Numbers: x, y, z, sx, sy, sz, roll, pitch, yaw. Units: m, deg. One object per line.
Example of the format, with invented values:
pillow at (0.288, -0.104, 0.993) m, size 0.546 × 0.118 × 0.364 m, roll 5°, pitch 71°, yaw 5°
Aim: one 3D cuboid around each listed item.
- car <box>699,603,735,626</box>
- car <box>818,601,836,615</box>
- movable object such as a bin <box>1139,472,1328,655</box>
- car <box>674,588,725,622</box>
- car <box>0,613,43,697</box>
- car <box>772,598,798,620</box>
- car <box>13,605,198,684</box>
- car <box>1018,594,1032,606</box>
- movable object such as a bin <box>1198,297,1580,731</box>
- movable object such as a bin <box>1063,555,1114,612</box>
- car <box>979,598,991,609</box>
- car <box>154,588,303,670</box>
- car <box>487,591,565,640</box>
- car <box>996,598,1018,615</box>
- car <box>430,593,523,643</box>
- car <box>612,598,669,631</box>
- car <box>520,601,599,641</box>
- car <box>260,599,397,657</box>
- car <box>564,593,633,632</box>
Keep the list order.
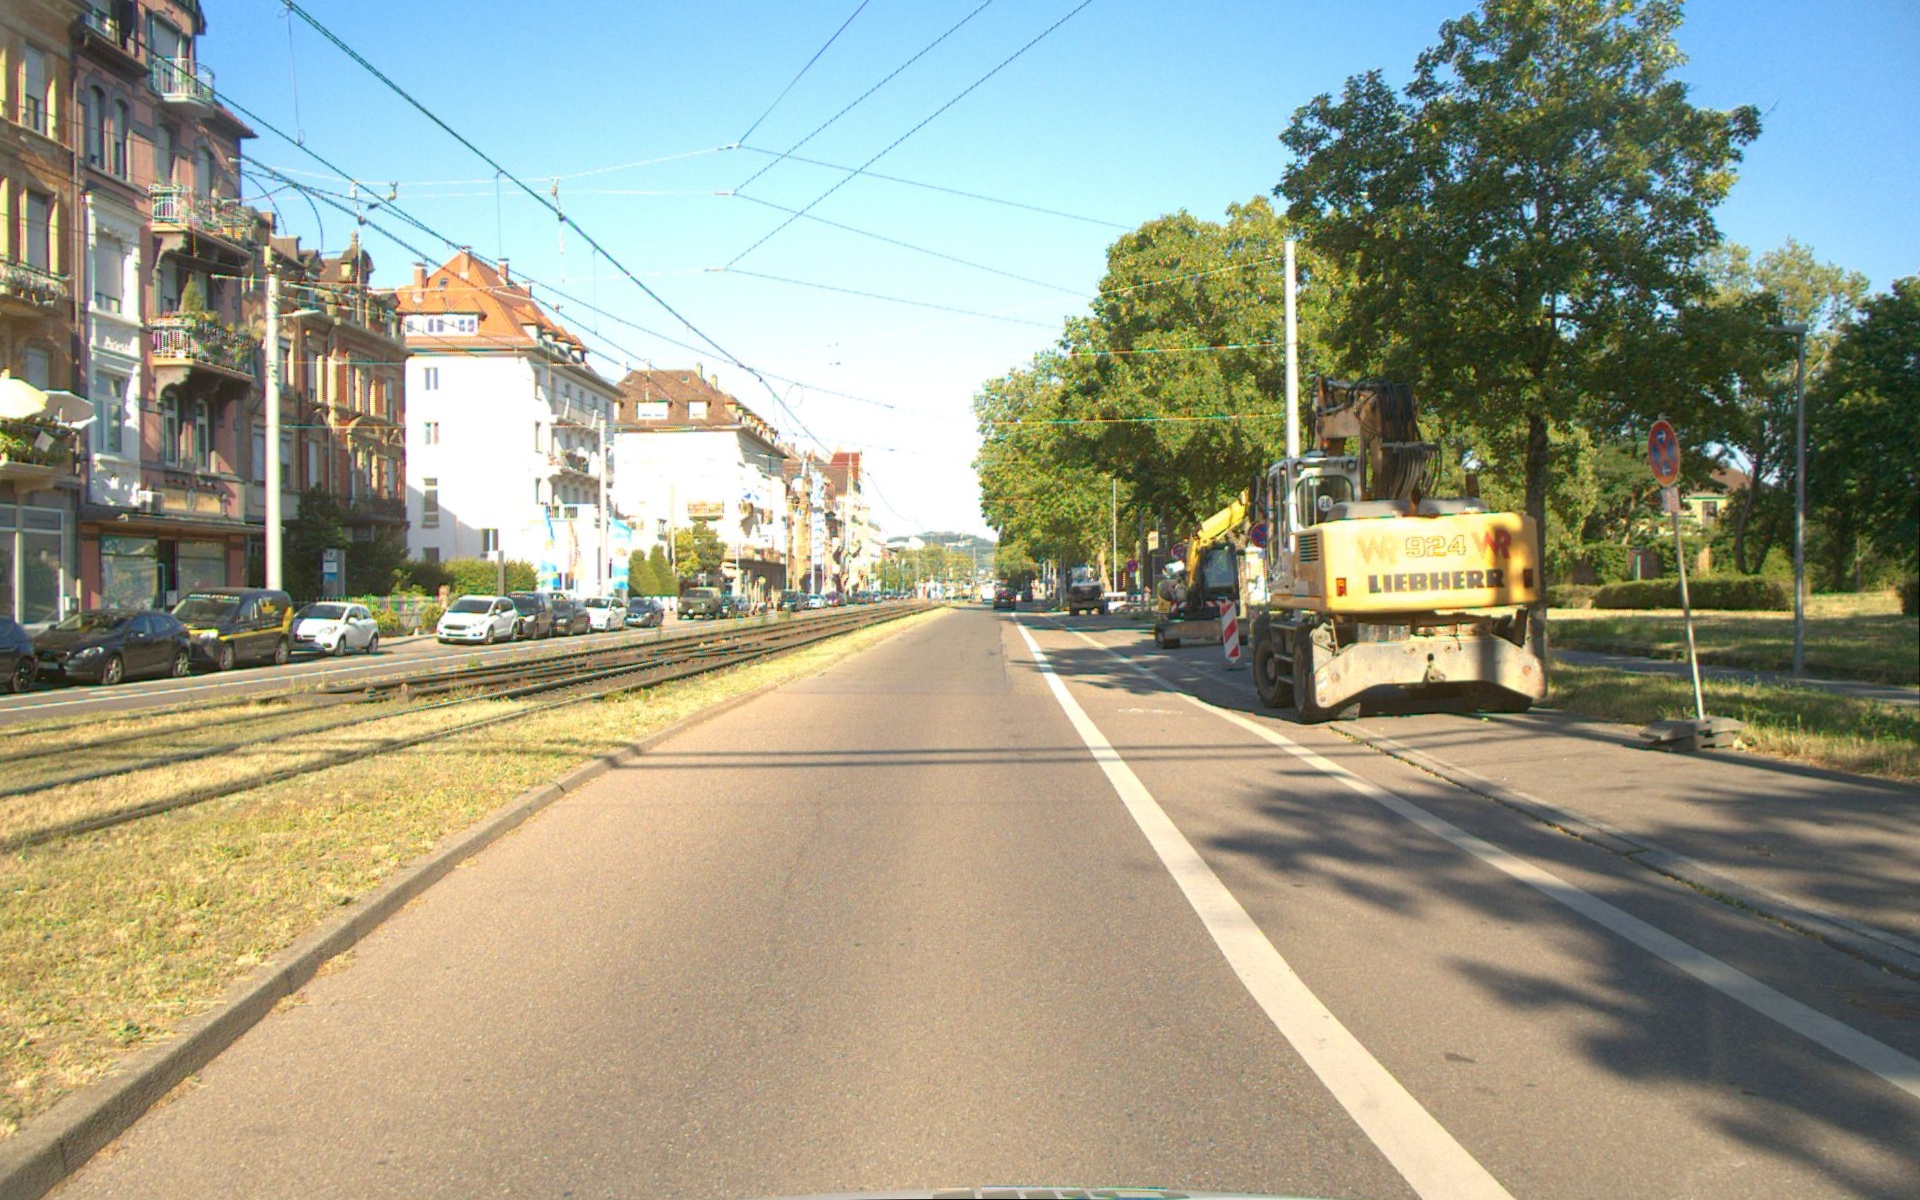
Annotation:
car at (-16.329, 0.961, 111.400) m, size 1.601 × 1.534 × 4.160 m, roll 0°, pitch -1°, yaw 3°
car at (-14.994, 0.886, 186.395) m, size 1.797 × 1.415 × 4.033 m, roll 3°, pitch 0°, yaw -3°
movable object such as a bin at (6.762, -0.868, 42.205) m, size 3.271 × 4.045 × 7.597 m, roll -3°, pitch 0°, yaw -1°
car at (-16.533, 0.292, 105.164) m, size 2.033 × 2.045 × 5.594 m, roll 1°, pitch 0°, yaw 3°
car at (-17.858, 0.973, 28.660) m, size 1.625 × 1.471 × 3.981 m, roll 1°, pitch 0°, yaw 1°
car at (-15.648, 0.768, 148.136) m, size 1.824 × 1.817 × 4.402 m, roll 1°, pitch 1°, yaw 0°
car at (-17.409, 0.871, 33.916) m, size 1.625 × 1.471 × 3.981 m, roll 1°, pitch 0°, yaw 1°
car at (8.512, -0.044, 216.671) m, size 1.757 × 1.537 × 4.000 m, roll 0°, pitch 0°, yaw 1°
movable object such as a bin at (5.347, -0.975, 22.301) m, size 2.855 × 4.690 × 7.597 m, roll -3°, pitch 0°, yaw -1°
movable object such as a bin at (7.831, -1.019, 101.686) m, size 2.687 × 3.200 × 7.221 m, roll -4°, pitch 0°, yaw 2°
car at (3.648, 0.452, 243.399) m, size 1.757 × 1.537 × 4.000 m, roll 1°, pitch -1°, yaw 1°
car at (-17.534, 0.649, 39.880) m, size 1.626 × 1.839 × 4.726 m, roll 1°, pitch 0°, yaw -2°
car at (-17.051, 0.567, 65.137) m, size 1.881 × 1.812 × 4.498 m, roll 1°, pitch 0°, yaw -1°
car at (3.954, 0.509, 139.396) m, size 1.795 × 1.415 × 4.159 m, roll 0°, pitch 0°, yaw 1°
car at (-17.417, 0.616, 59.754) m, size 1.881 × 1.713 × 4.628 m, roll 1°, pitch 0°, yaw 1°
car at (-16.508, 0.719, 85.659) m, size 1.882 × 1.486 × 4.842 m, roll 5°, pitch 0°, yaw 0°
car at (-16.930, 0.865, 70.151) m, size 1.880 × 1.588 × 4.844 m, roll 1°, pitch 0°, yaw 3°
car at (-17.834, 0.750, 46.939) m, size 1.880 × 1.565 × 4.629 m, roll 0°, pitch 0°, yaw 3°
car at (-16.726, 0.568, 76.758) m, size 1.880 × 1.724 × 4.844 m, roll 1°, pitch 0°, yaw 3°
